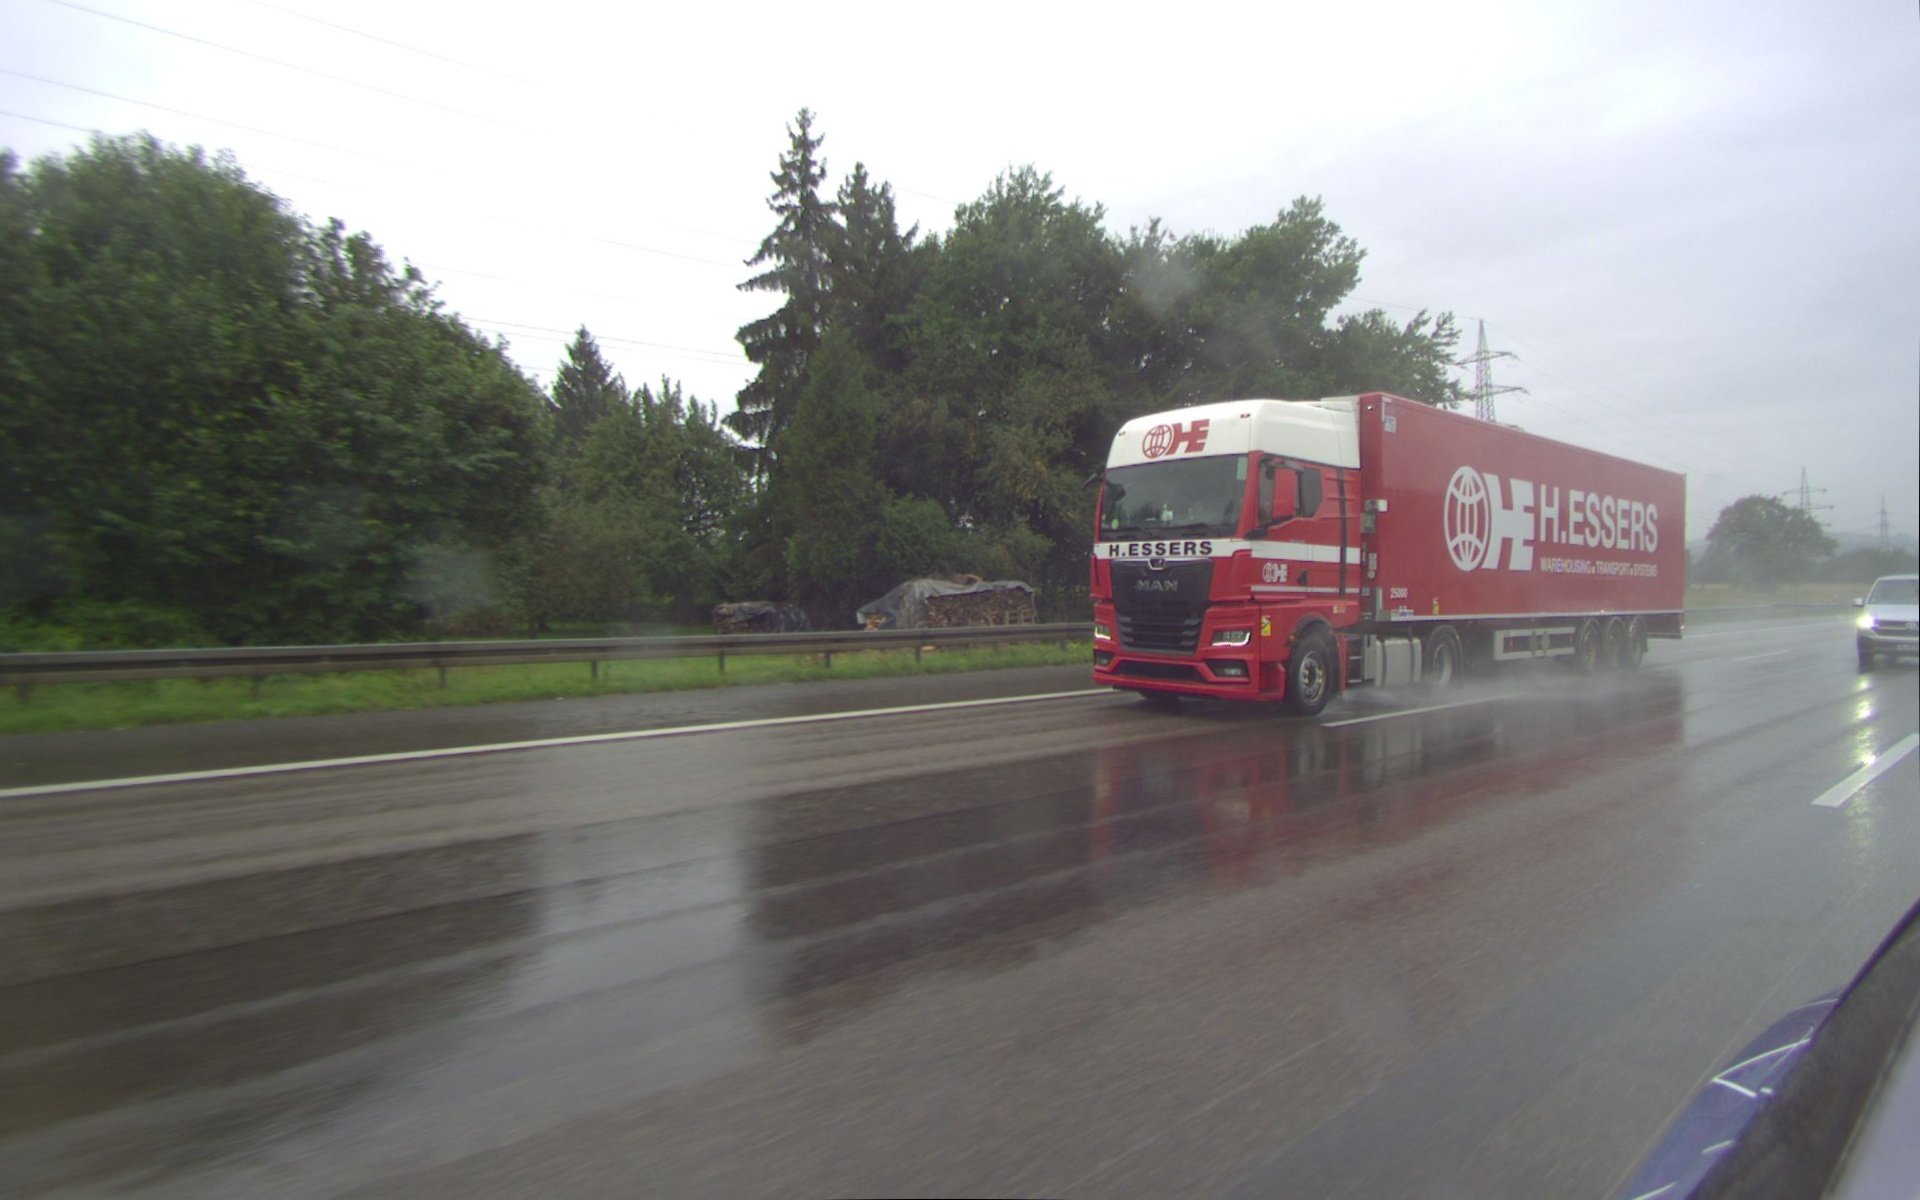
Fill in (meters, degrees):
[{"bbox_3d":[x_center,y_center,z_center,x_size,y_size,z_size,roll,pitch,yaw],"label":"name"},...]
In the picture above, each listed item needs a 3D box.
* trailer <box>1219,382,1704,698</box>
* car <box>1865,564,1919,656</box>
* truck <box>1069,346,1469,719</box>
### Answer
[{"bbox_3d":[9.768,-0.820,18.131,13.387,4.005,2.626,-1,1,-40],"label":"trailer"},{"bbox_3d":[21.909,0.206,22.508,4.920,1.908,1.890,0,-2,-40],"label":"car"},{"bbox_3d":[4.281,-0.759,13.608,5.335,4.005,2.626,0,0,-39],"label":"truck"}]
